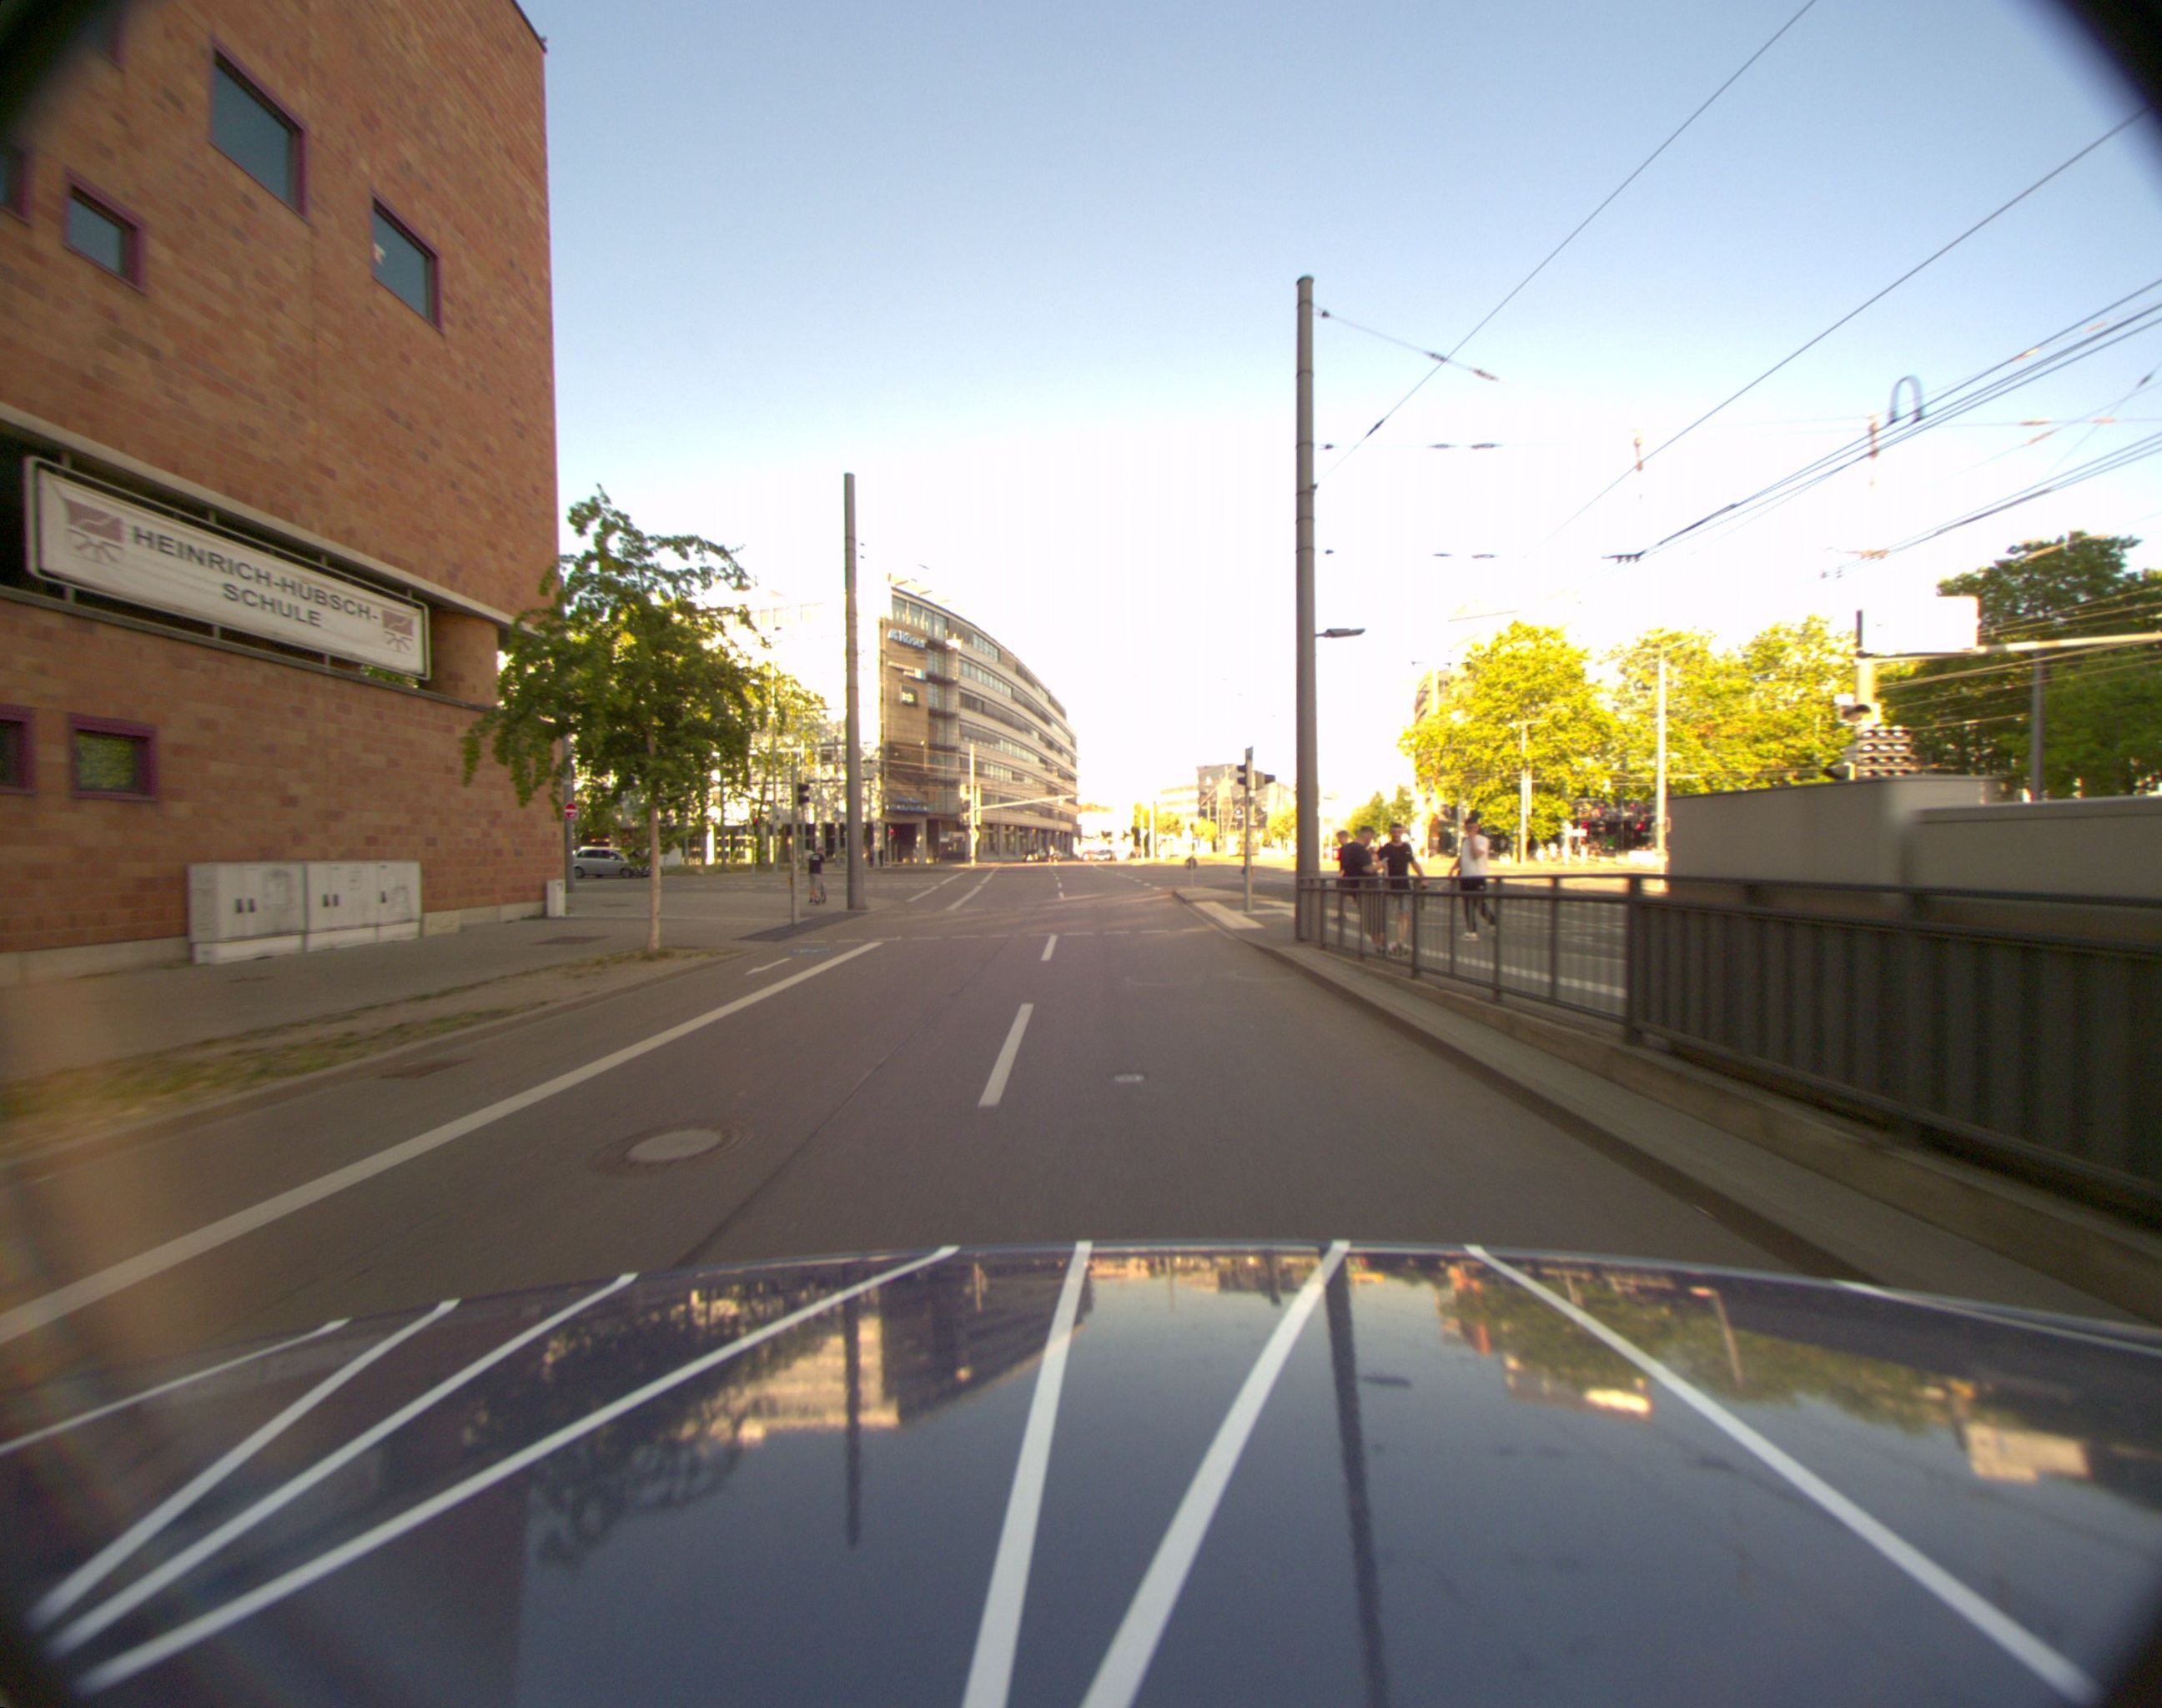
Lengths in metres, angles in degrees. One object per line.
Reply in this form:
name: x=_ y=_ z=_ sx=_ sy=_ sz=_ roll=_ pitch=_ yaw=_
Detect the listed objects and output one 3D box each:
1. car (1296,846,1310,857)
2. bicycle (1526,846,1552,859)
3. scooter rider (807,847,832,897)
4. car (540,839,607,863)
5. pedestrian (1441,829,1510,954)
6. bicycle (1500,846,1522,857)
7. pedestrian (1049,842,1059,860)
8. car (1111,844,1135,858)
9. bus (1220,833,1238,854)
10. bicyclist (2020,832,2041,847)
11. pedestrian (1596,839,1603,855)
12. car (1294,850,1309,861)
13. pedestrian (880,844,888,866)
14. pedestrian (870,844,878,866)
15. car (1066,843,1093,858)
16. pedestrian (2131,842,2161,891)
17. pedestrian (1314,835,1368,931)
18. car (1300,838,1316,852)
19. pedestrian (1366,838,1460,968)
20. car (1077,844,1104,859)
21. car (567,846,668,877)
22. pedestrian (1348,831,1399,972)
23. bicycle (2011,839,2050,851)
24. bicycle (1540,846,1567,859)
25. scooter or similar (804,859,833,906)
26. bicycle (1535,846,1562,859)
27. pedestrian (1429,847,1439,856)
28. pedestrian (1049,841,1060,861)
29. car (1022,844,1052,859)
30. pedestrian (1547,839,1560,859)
car: x=29.948 y=-0.353 z=102.527 sx=1.633 sy=1.443 sz=4.004 roll=0 pitch=0 yaw=13
bicycle: x=41.301 y=-0.121 z=68.591 sx=1.841 sy=1.123 sz=0.776 roll=0 pitch=1 yaw=8
scooter rider: x=-7.701 y=0.511 z=22.359 sx=0.507 sy=1.452 sz=0.721 roll=-1 pitch=1 yaw=-5
car: x=-43.421 y=-0.303 z=65.058 sx=4.380 sy=2.002 sz=2.000 roll=0 pitch=1 yaw=3
pedestrian: x=5.642 y=0.506 z=10.860 sx=0.776 sy=1.708 sz=0.643 roll=1 pitch=2 yaw=36
bicycle: x=39.735 y=-0.206 z=70.220 sx=1.696 sy=1.030 sz=0.549 roll=0 pitch=1 yaw=12
pedestrian: x=-2.515 y=-0.250 z=71.083 sx=0.845 sy=1.678 sz=0.648 roll=0 pitch=2 yaw=6
car: x=5.042 y=-0.322 z=90.349 sx=1.900 sy=1.612 sz=4.177 roll=0 pitch=0 yaw=17
bus: x=25.353 y=-1.741 z=130.529 sx=2.723 sy=3.388 sz=9.674 roll=0 pitch=0 yaw=9
bicyclist: x=81.361 y=-1.234 z=65.116 sx=0.956 sy=1.337 sz=0.676 roll=1 pitch=2 yaw=39
pedestrian: x=54.237 y=-0.724 z=79.444 sx=0.542 sy=1.660 sz=0.572 roll=1 pitch=2 yaw=41
car: x=35.736 y=0.227 z=123.032 sx=1.614 sy=1.593 sz=4.183 roll=3 pitch=1 yaw=25
pedestrian: x=-16.632 y=0.068 z=64.186 sx=0.547 sy=1.813 sz=0.374 roll=-1 pitch=2 yaw=-11
pedestrian: x=-17.471 y=0.074 z=64.077 sx=0.589 sy=1.813 sz=0.544 roll=-1 pitch=2 yaw=-11
car: x=-0.126 y=-0.344 z=81.439 sx=1.900 sy=1.612 sz=3.871 roll=0 pitch=0 yaw=17
pedestrian: x=41.259 y=0.479 z=29.250 sx=0.743 sy=1.884 sz=0.649 roll=0 pitch=2 yaw=27
pedestrian: x=4.730 y=0.515 z=13.833 sx=0.625 sy=1.692 sz=0.748 roll=-1 pitch=1 yaw=-13
car: x=41.480 y=-1.534 z=138.784 sx=1.995 sy=2.466 sz=5.985 roll=0 pitch=0 yaw=25
pedestrian: x=4.090 y=0.567 z=9.417 sx=0.715 sy=1.530 sz=0.851 roll=-1 pitch=1 yaw=-11
car: x=1.114 y=-0.313 z=85.355 sx=1.900 sy=1.612 sz=4.177 roll=0 pitch=0 yaw=17
car: x=-24.313 y=0.372 z=39.928 sx=4.320 sy=1.588 sz=1.736 roll=0 pitch=1 yaw=5
pedestrian: x=3.290 y=0.513 z=8.579 sx=0.490 sy=1.530 sz=0.552 roll=0 pitch=1 yaw=17
bicycle: x=81.369 y=-0.771 z=65.134 sx=2.009 sy=1.061 sz=0.697 roll=0 pitch=2 yaw=38
bicycle: x=41.011 y=-0.127 z=65.952 sx=1.841 sy=1.123 sz=0.776 roll=0 pitch=1 yaw=8
scooter or similar: x=-7.686 y=0.814 z=22.277 sx=0.529 sy=1.310 sz=1.132 roll=-1 pitch=1 yaw=-6
bicycle: x=41.181 y=-0.125 z=66.911 sx=1.841 sy=1.123 sz=0.776 roll=0 pitch=1 yaw=8
pedestrian: x=41.949 y=-0.256 z=90.284 sx=0.776 sy=1.075 sz=0.681 roll=0 pitch=1 yaw=0
pedestrian: x=-2.478 y=-0.276 z=70.363 sx=0.966 sy=1.832 sz=0.699 roll=0 pitch=2 yaw=4
car: x=-4.819 y=-0.288 z=83.444 sx=1.900 sy=1.612 sz=4.177 roll=0 pitch=0 yaw=17
pedestrian: x=42.629 y=-0.438 z=68.517 sx=0.891 sy=1.754 sz=0.732 roll=0 pitch=0 yaw=21
